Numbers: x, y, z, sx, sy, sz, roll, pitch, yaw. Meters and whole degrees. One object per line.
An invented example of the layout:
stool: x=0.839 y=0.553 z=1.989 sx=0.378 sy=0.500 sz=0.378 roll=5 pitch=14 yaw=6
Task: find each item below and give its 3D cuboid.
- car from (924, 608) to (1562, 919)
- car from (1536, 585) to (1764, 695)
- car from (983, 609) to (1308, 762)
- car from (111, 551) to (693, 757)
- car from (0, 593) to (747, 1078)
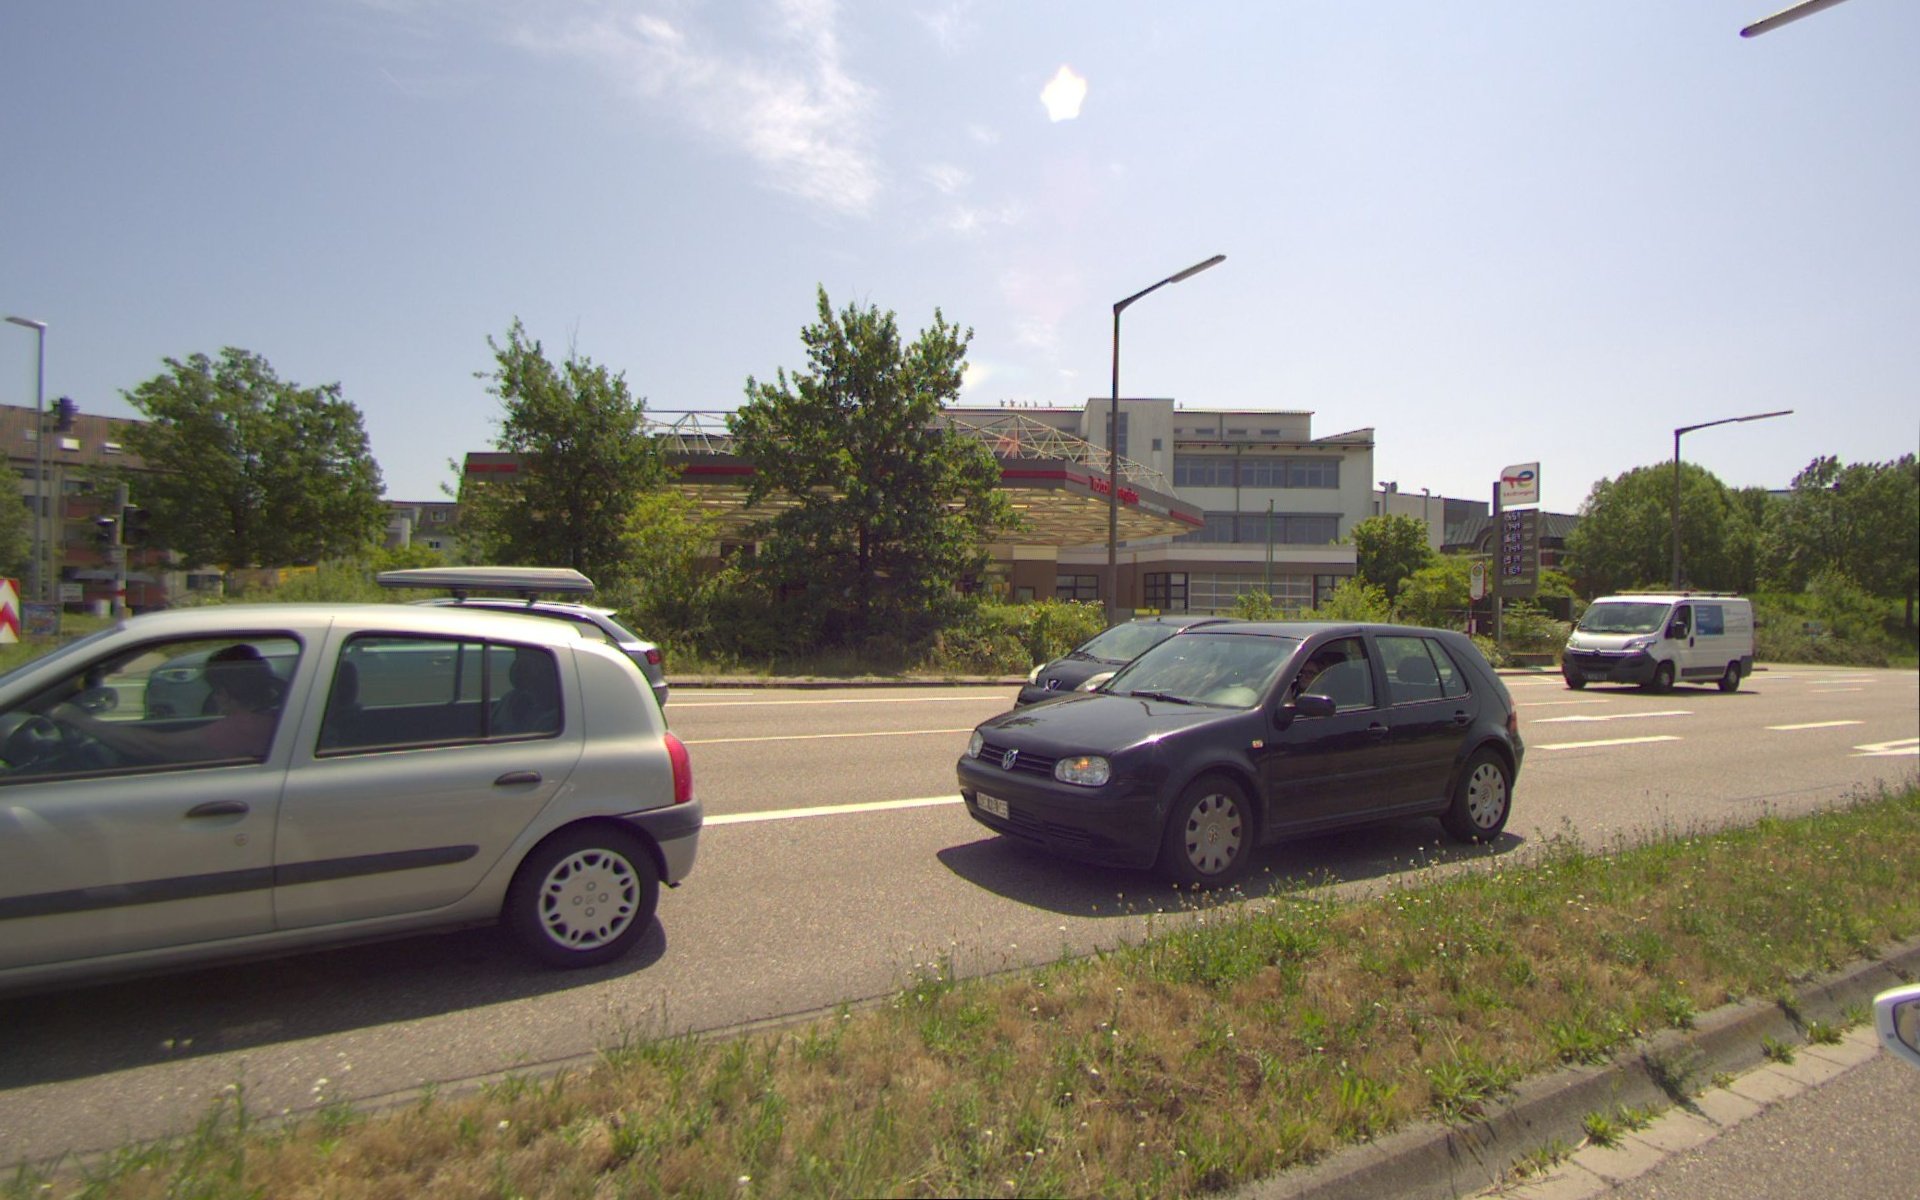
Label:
car: x=1.972 y=0.824 z=6.554 sx=4.145 sy=1.453 sz=1.666 roll=2 pitch=-1 yaw=-32
car: x=16.120 y=0.898 z=23.411 sx=5.384 sy=2.303 sz=2.239 roll=2 pitch=0 yaw=-30
car: x=2.104 y=0.867 z=11.162 sx=3.465 sy=1.465 sz=1.440 roll=2 pitch=-1 yaw=-31
car: x=-5.581 y=0.505 z=10.711 sx=4.961 sy=1.773 sz=1.956 roll=1 pitch=0 yaw=-29
car: x=-2.912 y=0.704 z=3.862 sx=3.811 sy=1.442 sz=1.552 roll=1 pitch=0 yaw=-32
